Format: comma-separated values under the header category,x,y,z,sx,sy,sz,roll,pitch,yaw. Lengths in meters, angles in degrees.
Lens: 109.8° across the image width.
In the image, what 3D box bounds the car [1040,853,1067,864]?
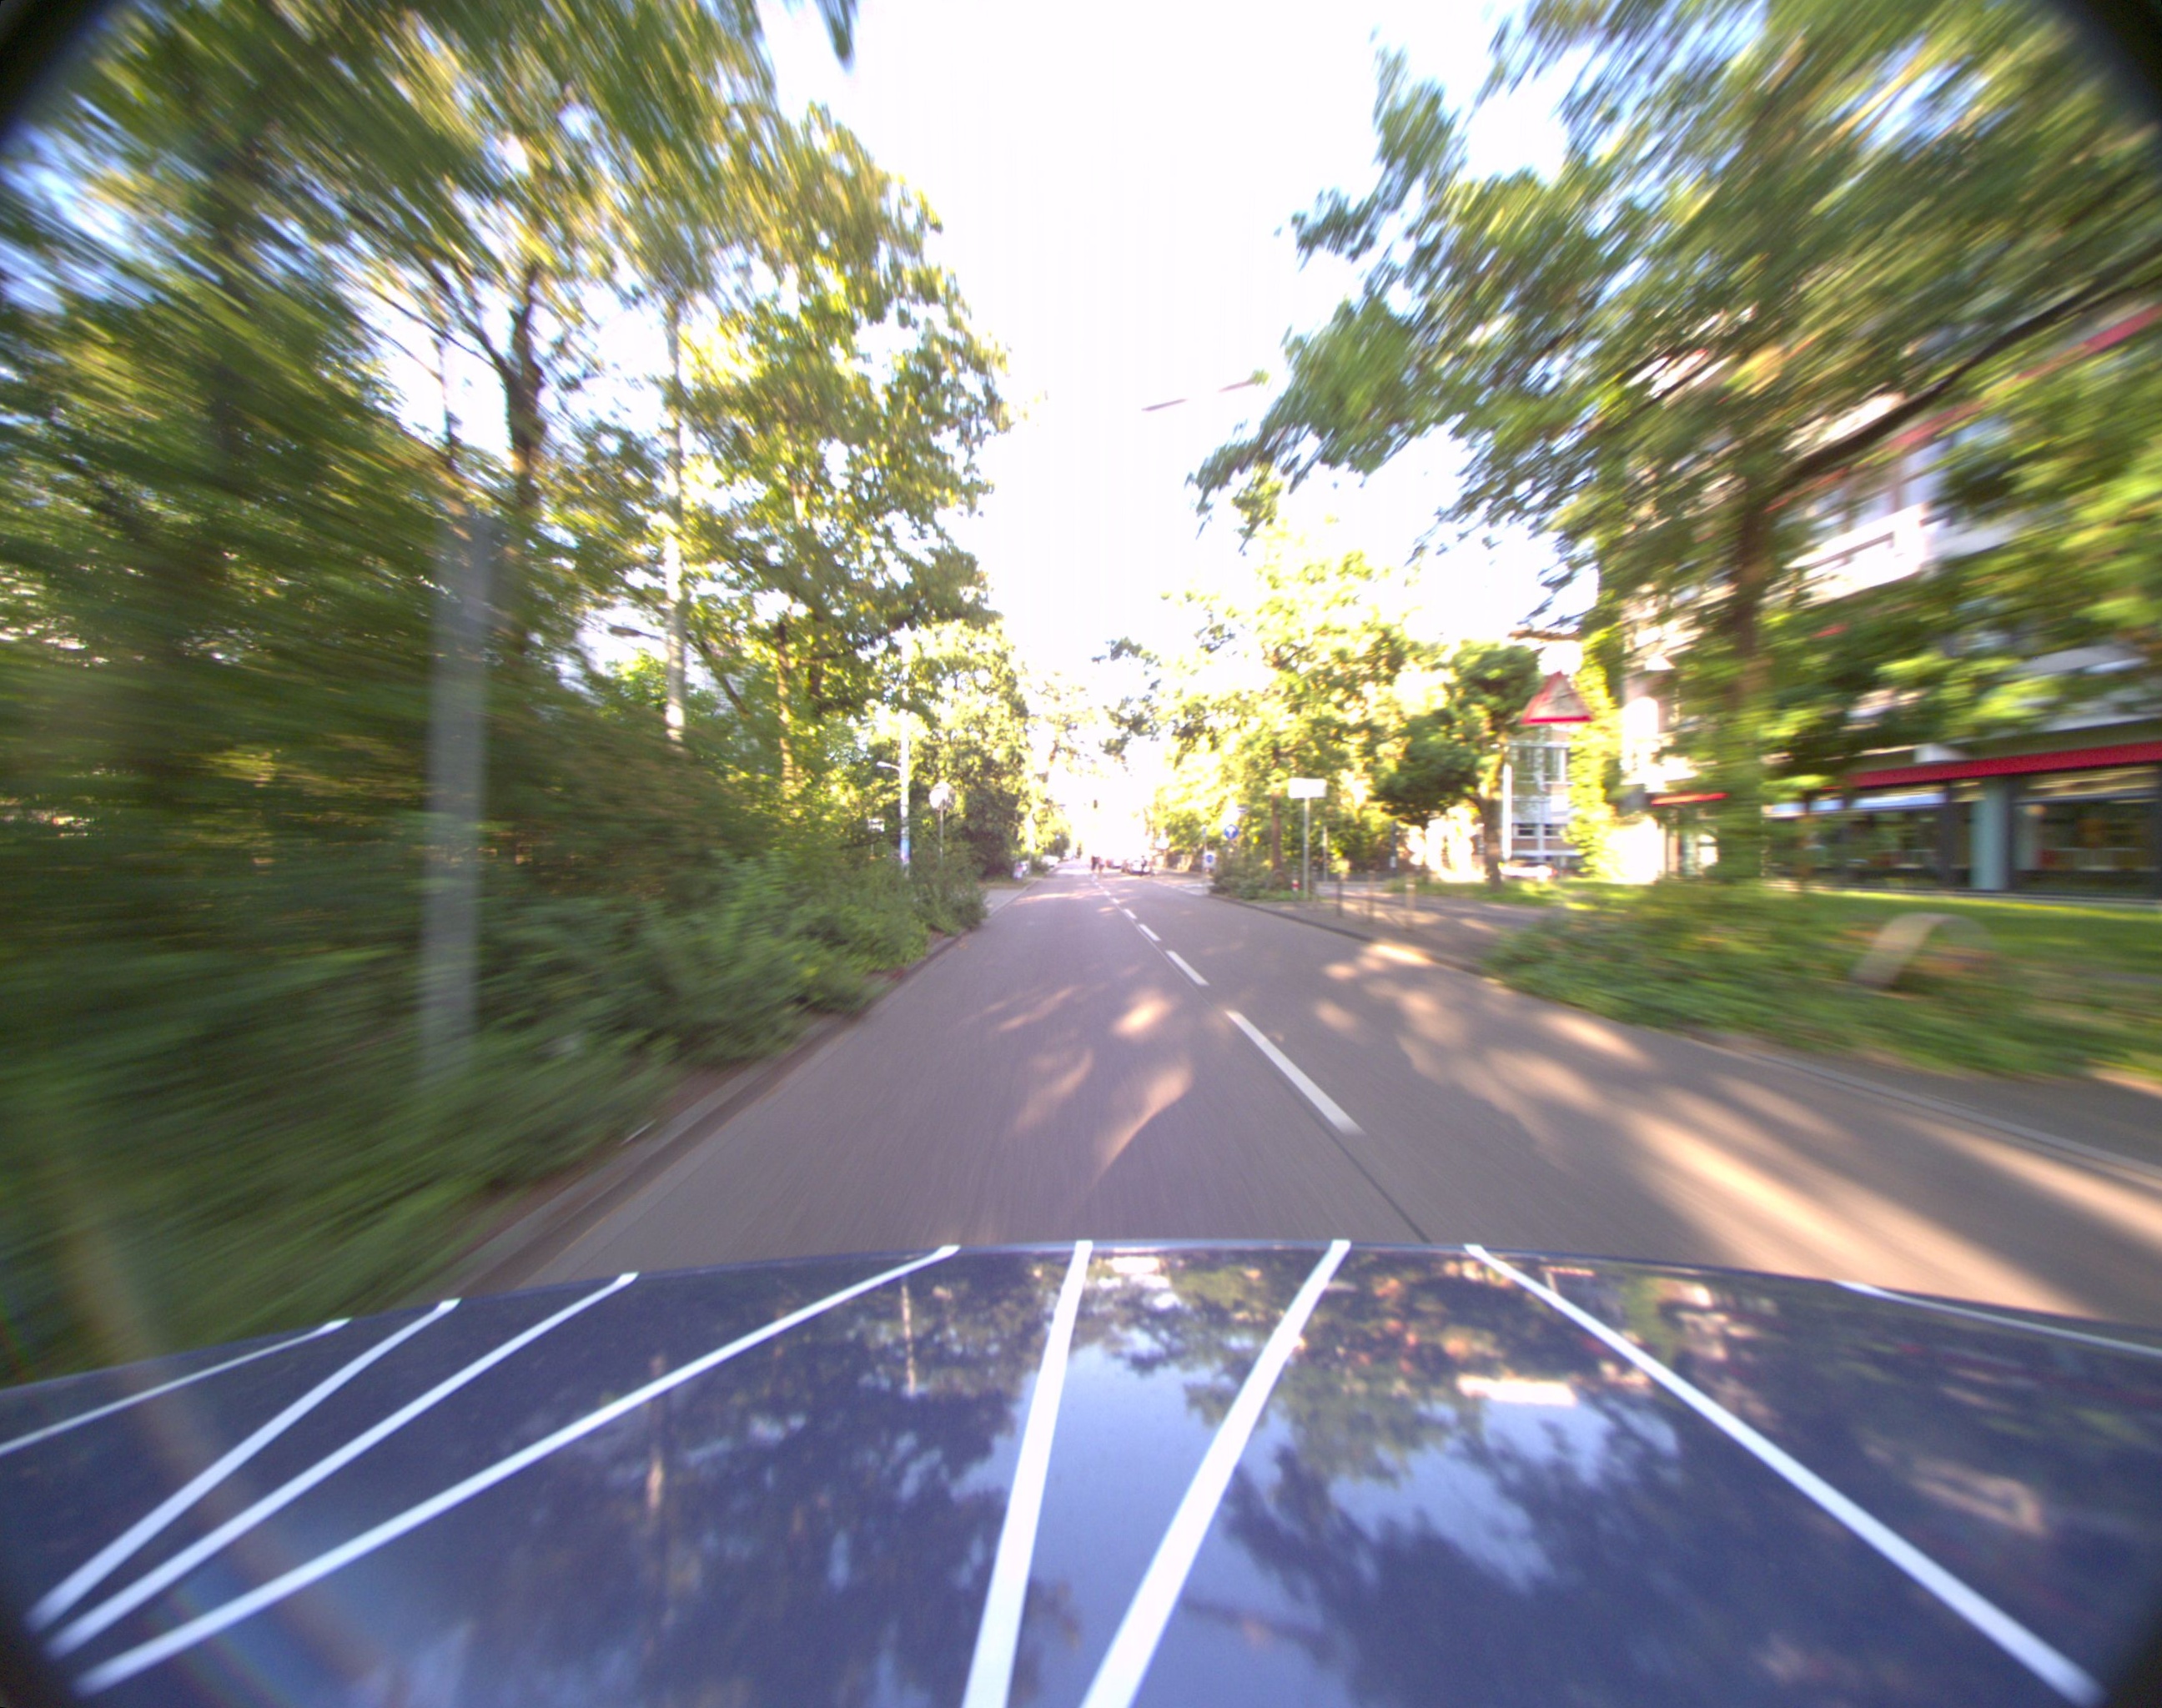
category,x,y,z,sx,sy,sz,roll,pitch,yaw
car,-4.195,0.707,114.582,2.004,1.630,3.989,-2,1,-38

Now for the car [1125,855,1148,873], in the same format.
category,x,y,z,sx,sy,sz,roll,pitch,yaw
car,5.035,0.860,69.464,1.776,1.559,4.108,-2,0,-1

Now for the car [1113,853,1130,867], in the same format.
category,x,y,z,sx,sy,sz,roll,pitch,yaw
car,4.968,0.725,93.237,1.776,1.559,4.108,-2,0,-1

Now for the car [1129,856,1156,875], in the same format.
category,x,y,z,sx,sy,sz,roll,pitch,yaw
car,5.094,0.950,63.450,1.776,1.474,4.108,-2,0,-1

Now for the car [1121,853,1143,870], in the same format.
category,x,y,z,sx,sy,sz,roll,pitch,yaw
car,5.040,0.703,75.068,1.776,1.559,4.108,-2,0,-1

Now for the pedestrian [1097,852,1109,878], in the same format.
category,x,y,z,sx,sy,sz,roll,pitch,yaw
pedestrian,1.547,0.777,53.848,0.784,1.825,0.672,-2,0,3

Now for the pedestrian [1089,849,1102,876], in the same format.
category,x,y,z,sx,sy,sz,roll,pitch,yaw
pedestrian,0.987,0.607,52.457,0.784,1.825,0.672,-2,0,3

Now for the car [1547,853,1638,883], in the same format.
category,x,y,z,sx,sy,sz,roll,pitch,yaw
car,26.054,0.706,38.755,3.646,1.399,1.775,0,2,-12

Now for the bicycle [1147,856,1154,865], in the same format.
category,x,y,z,sx,sy,sz,roll,pitch,yaw
bicycle,8.033,0.722,88.034,0.625,1.008,2.146,0,0,-2

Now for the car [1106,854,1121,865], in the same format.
category,x,y,z,sx,sy,sz,roll,pitch,yaw
car,4.631,0.796,108.369,1.776,1.559,4.108,-2,0,-1

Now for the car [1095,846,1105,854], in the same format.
category,x,y,z,sx,sy,sz,roll,pitch,yaw
car,3.848,-0.882,155.221,1.776,1.559,4.108,-2,0,-1

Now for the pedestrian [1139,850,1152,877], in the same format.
category,x,y,z,sx,sy,sz,roll,pitch,yaw
pedestrian,4.435,0.660,52.441,0.784,1.825,0.672,-2,0,3

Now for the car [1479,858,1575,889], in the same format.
category,x,y,z,sx,sy,sz,roll,pitch,yaw
car,22.208,0.950,37.881,3.964,1.441,1.775,0,2,-12

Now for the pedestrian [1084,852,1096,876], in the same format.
category,x,y,z,sx,sy,sz,roll,pitch,yaw
pedestrian,0.621,0.720,53.558,0.784,1.665,0.672,-2,0,3

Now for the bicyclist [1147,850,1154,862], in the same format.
category,x,y,z,sx,sy,sz,roll,pitch,yaw
bicyclist,8.039,0.242,88.074,0.752,1.446,1.059,0,0,-1
